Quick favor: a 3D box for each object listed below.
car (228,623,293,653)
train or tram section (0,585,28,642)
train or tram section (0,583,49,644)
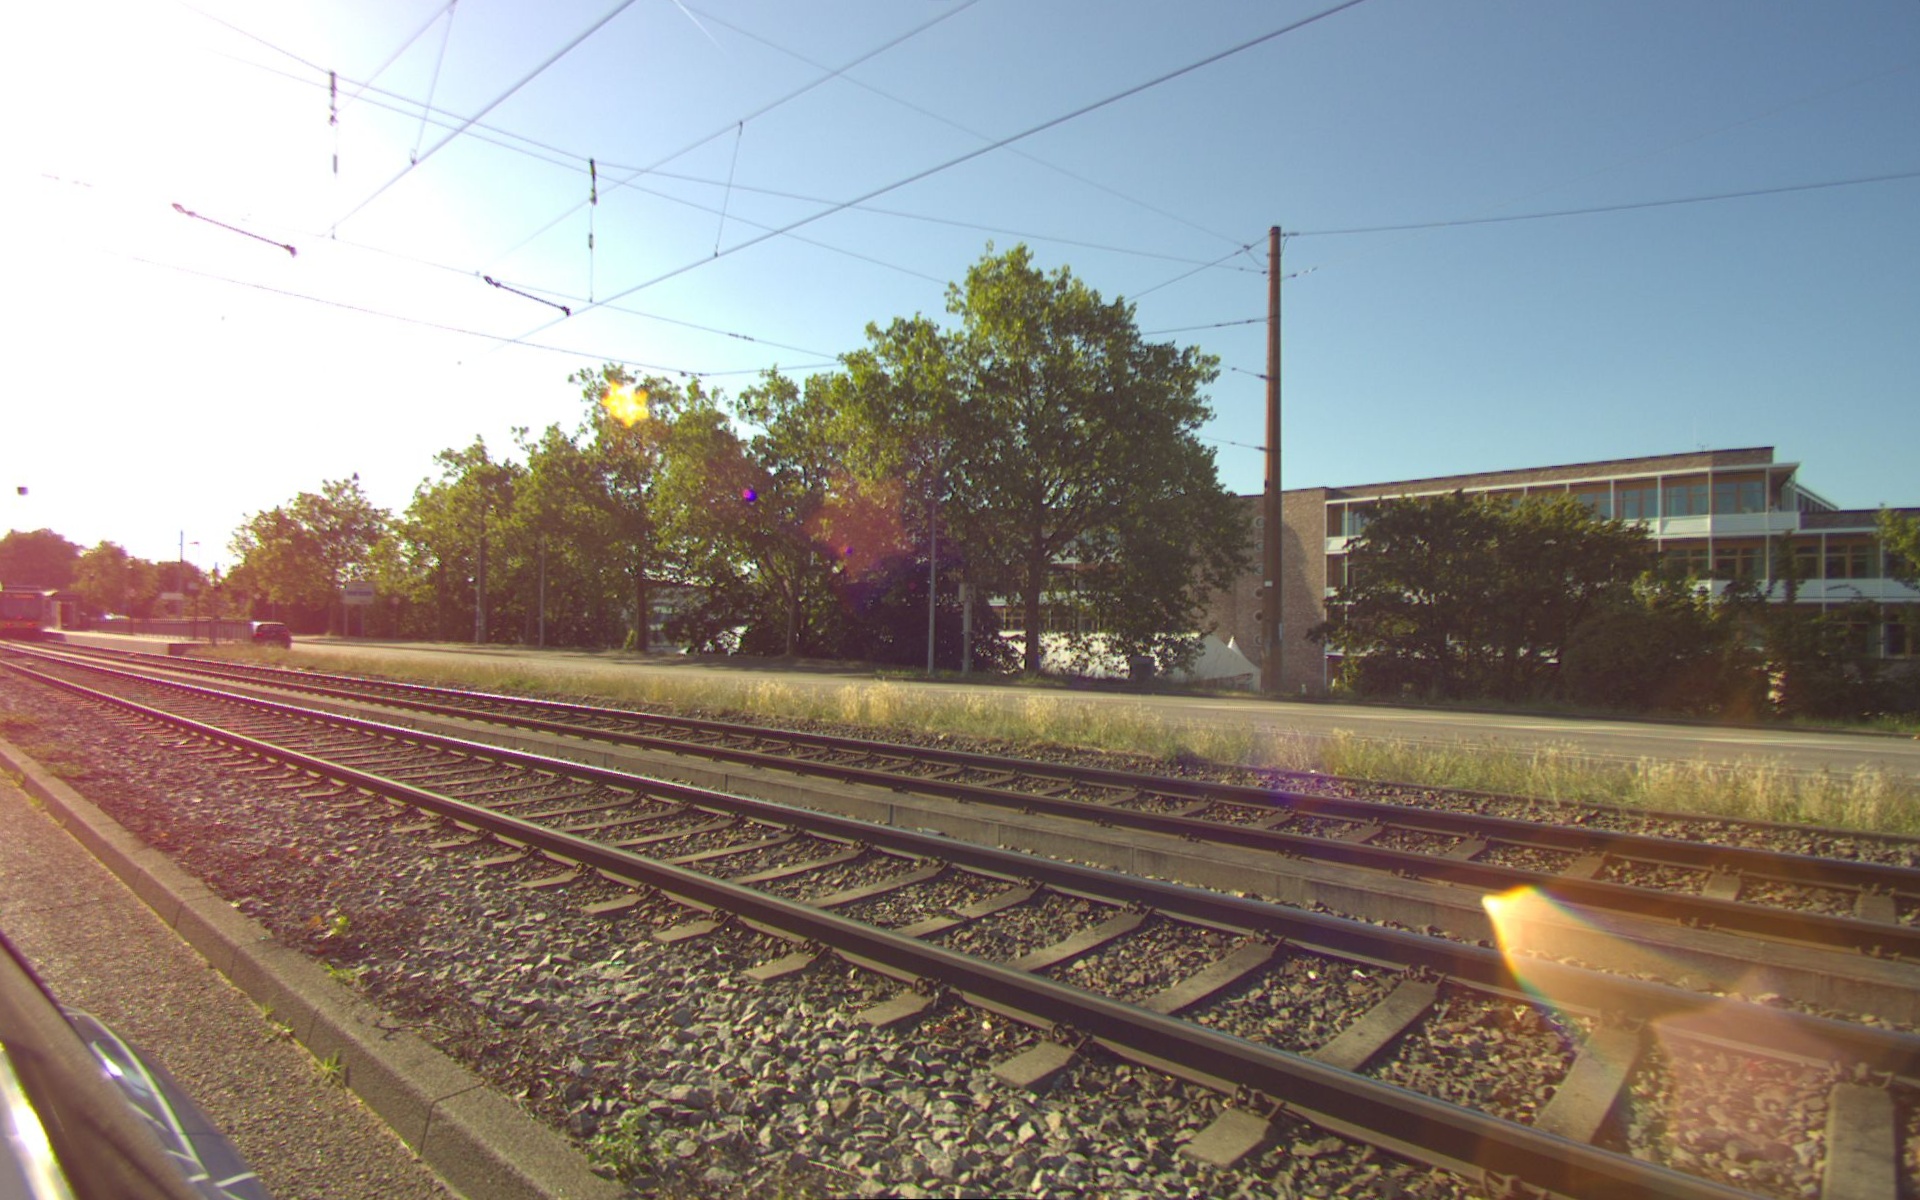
[{"bbox_3d":[-35.394,1.904,51.136,4.489,1.436,1.754,-1,-3,43],"label":"car"},{"bbox_3d":[-73.407,1.049,76.723,15.874,4.036,2.797,-1,-1,43],"label":"train or tram section"},{"bbox_3d":[-62.880,0.915,66.909,12.968,3.715,2.797,-1,-1,43],"label":"train or tram section"}]
